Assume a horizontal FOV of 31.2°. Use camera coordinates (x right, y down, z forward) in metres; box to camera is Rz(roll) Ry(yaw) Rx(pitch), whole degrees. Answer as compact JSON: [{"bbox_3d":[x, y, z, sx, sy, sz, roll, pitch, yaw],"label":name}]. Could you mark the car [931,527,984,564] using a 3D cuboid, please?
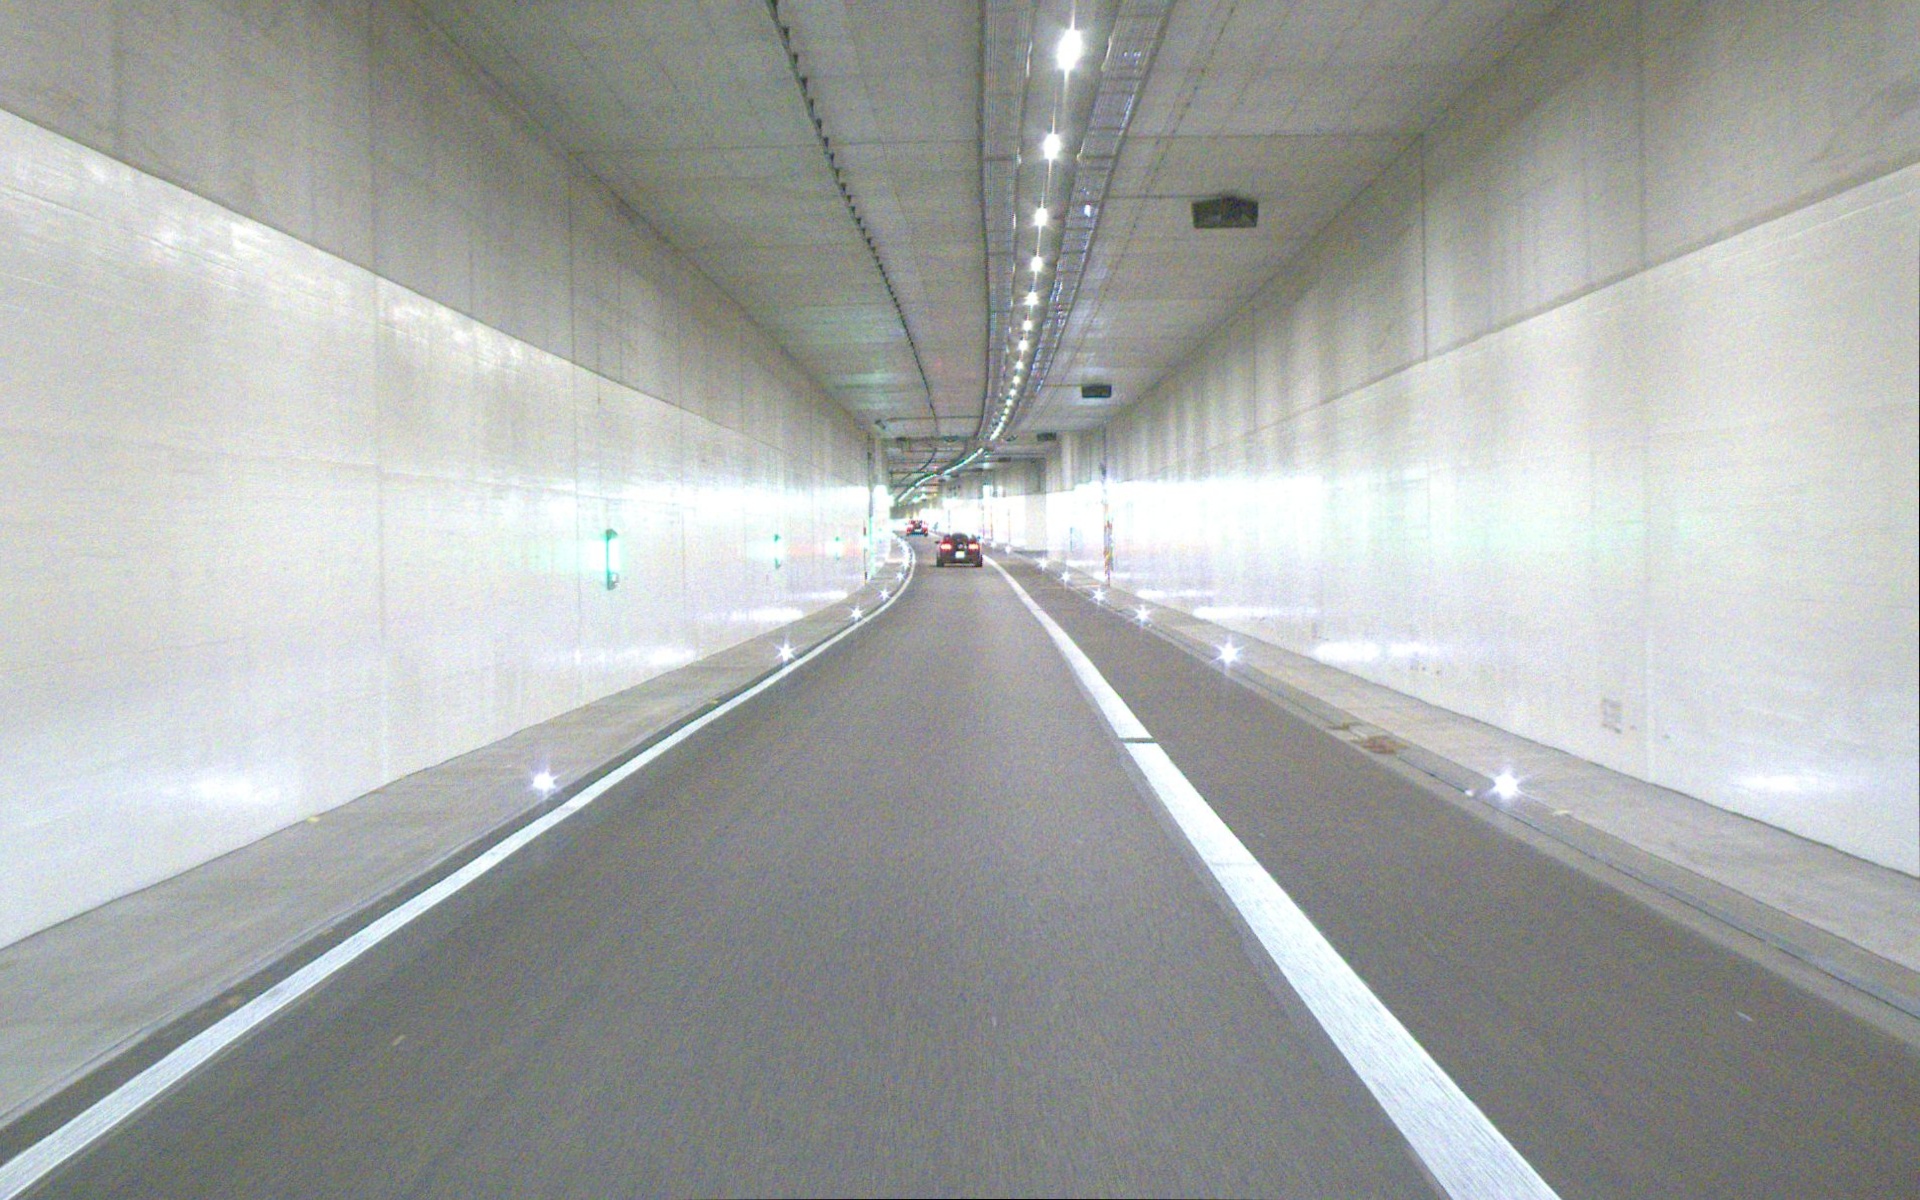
[{"bbox_3d":[-0.106,-2.265,141.365,1.993,1.415,4.001,3,1,-2],"label":"car"}]
